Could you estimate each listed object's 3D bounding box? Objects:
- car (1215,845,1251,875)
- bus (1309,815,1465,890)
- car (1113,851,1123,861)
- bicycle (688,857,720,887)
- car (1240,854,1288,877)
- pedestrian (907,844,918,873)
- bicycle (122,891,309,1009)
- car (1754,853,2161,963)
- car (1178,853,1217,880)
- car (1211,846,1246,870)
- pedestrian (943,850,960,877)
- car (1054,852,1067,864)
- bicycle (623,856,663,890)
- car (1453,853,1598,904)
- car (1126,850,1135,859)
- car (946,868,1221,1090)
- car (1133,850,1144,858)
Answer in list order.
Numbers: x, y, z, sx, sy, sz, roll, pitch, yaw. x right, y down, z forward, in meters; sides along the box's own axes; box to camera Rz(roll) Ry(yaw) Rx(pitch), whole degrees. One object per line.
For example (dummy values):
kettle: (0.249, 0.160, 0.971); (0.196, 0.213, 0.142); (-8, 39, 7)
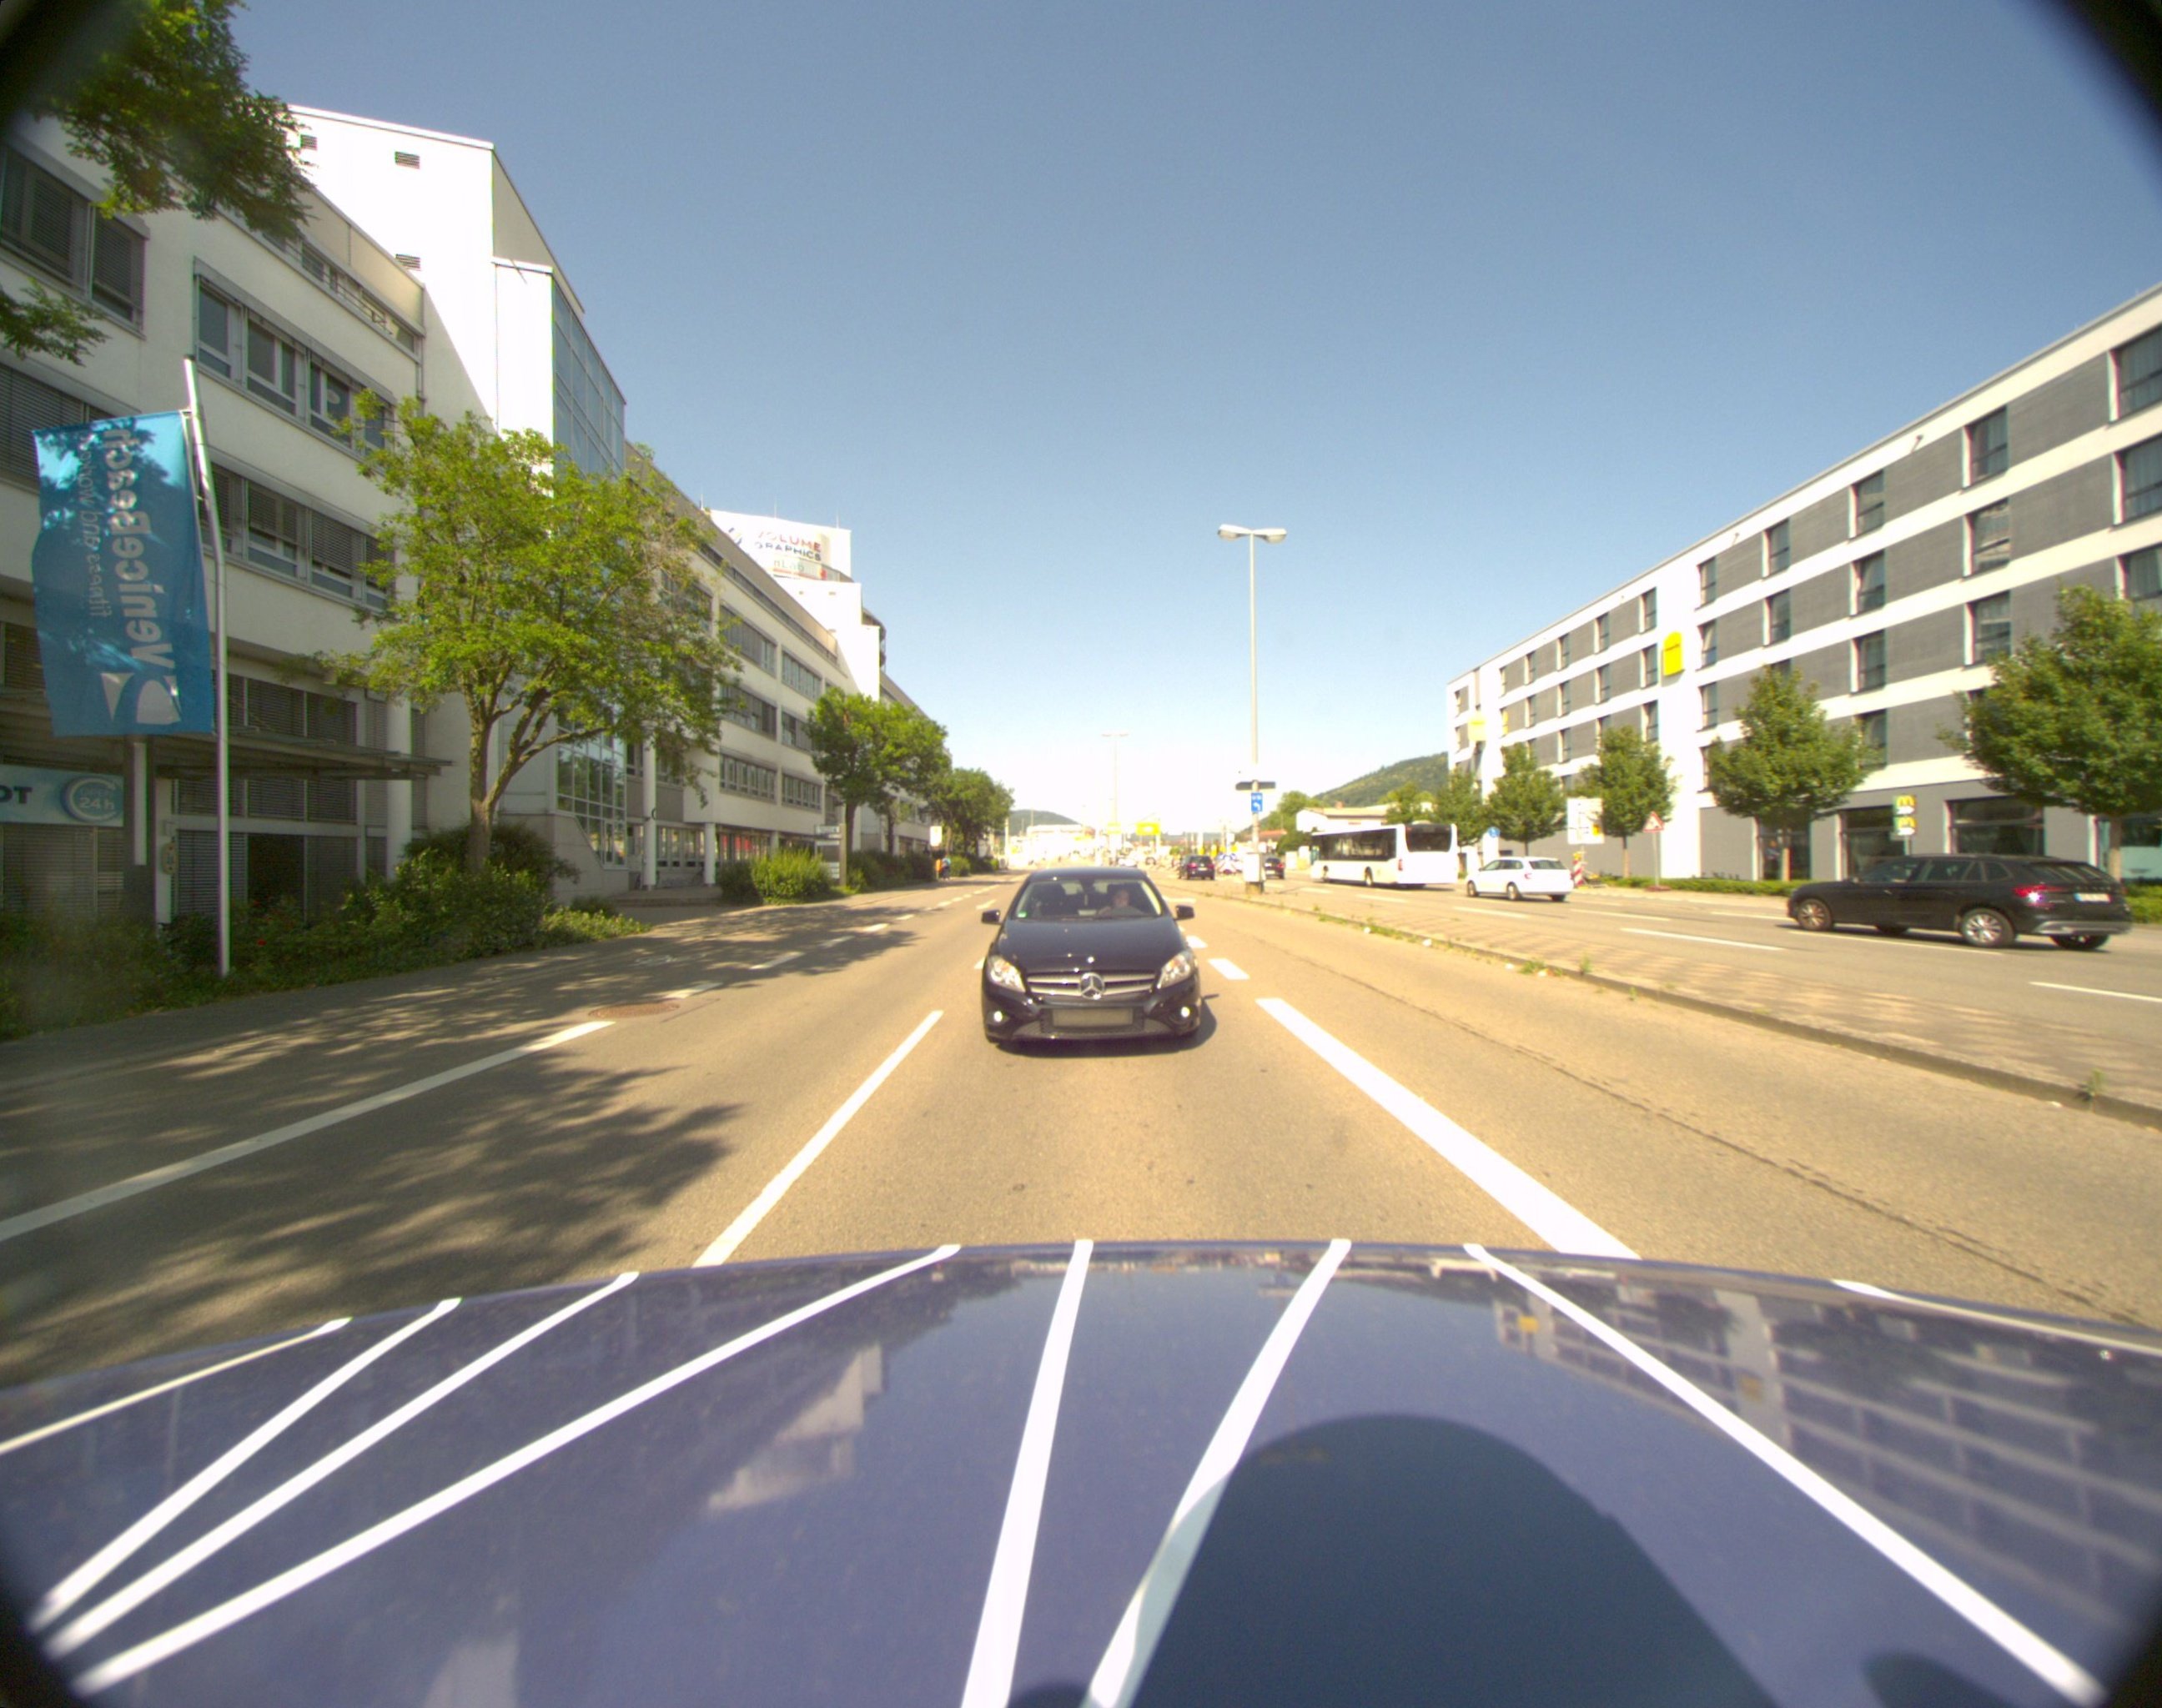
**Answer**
car: (10.730, 0.387, 53.785); (1.679, 2.002, 4.164); (-2, 1, 1)
bus: (14.529, -0.076, 37.551); (2.745, 3.061, 11.974); (1, 0, 0)
car: (7.870, 0.473, 162.437); (1.998, 2.002, 3.999); (-2, 1, 1)
bicycle: (-17.719, 0.814, 35.743); (0.506, 1.346, 1.884); (-1, 0, 1)
car: (12.116, 0.749, 50.612); (1.998, 1.424, 4.890); (-1, 0, 0)
pedestrian: (-15.056, 0.389, 67.890); (0.717, 2.534, 0.716); (-1, 1, -1)
bicycle: (-11.294, 1.186, 10.020); (0.506, 1.321, 1.883); (0, 0, -8)
car: (15.133, 0.814, 13.595); (1.999, 1.568, 4.410); (2, 0, -5)
car: (7.152, 0.732, 47.004); (1.890, 1.608, 4.134); (-1, 0, 1)
car: (13.745, 0.422, 71.013); (2.000, 2.001, 3.999); (-3, -2, -7)
pedestrian: (-9.201, 0.690, 53.918); (0.942, 1.875, 1.289); (2, 1, 0)
car: (-3.572, 0.629, 132.941); (1.998, 2.002, 4.000); (-2, 1, 2)
bicycle: (-18.059, 0.766, 31.345); (0.506, 1.346, 1.884); (-1, 0, 1)
car: (14.877, 0.775, 25.770); (1.999, 1.477, 4.410); (2, 1, -5)
car: (12.376, 0.113, 188.718); (1.998, 2.002, 3.999); (-2, 1, 1)
car: (0.043, 0.921, 7.666); (1.905, 1.431, 4.693); (-1, 0, 1)
car: (12.051, 0.010, 159.618); (1.998, 1.702, 4.892); (0, -1, 1)
